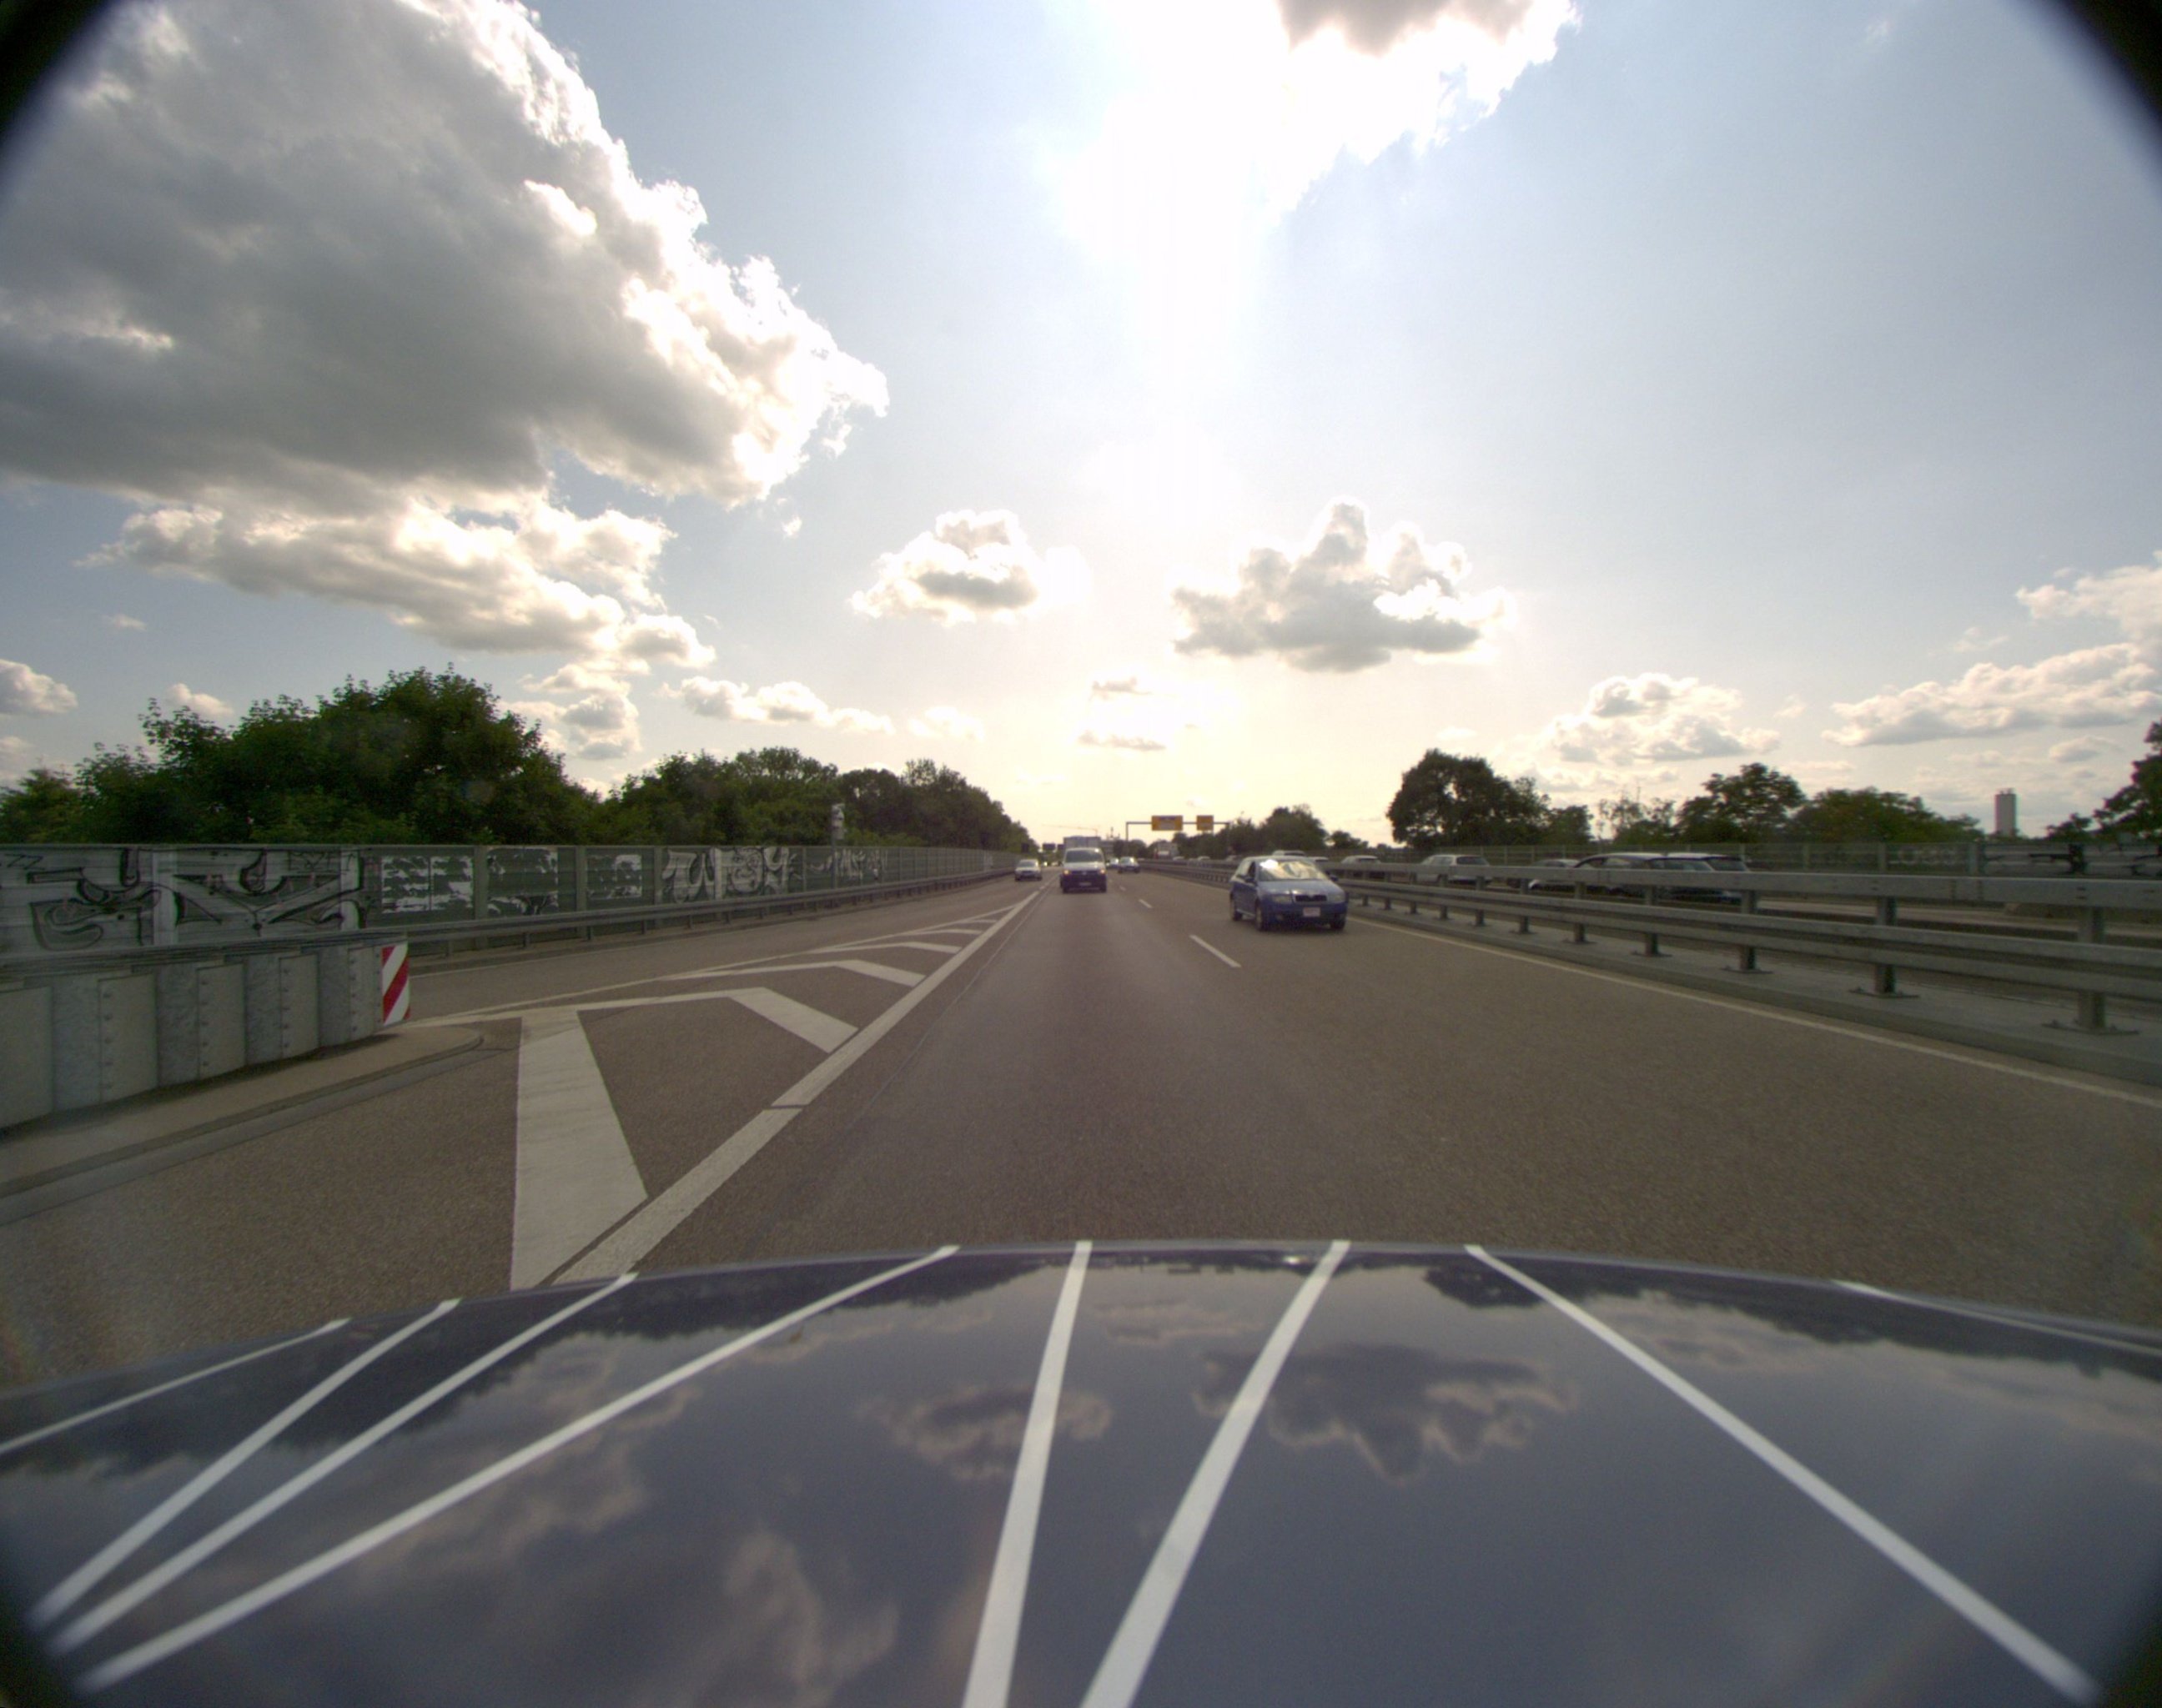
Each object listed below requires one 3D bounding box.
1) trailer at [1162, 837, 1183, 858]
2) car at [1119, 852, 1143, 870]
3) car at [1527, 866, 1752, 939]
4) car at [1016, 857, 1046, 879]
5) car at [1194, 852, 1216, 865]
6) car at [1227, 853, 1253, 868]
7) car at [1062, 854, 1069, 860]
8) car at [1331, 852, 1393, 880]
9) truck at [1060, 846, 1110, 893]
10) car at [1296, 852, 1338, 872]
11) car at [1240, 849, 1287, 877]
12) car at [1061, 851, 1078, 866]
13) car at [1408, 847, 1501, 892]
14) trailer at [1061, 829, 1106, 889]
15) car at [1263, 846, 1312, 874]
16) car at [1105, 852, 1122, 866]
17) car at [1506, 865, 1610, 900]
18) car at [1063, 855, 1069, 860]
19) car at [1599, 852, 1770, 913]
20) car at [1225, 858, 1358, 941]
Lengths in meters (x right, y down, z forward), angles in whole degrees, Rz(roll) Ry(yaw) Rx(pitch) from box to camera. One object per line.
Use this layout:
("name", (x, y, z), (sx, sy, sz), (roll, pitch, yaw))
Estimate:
("trailer", (17.002, -1.151, 141.801), (2.691, 3.648, 11.027), (-2, 1, 0))
("car", (4.484, 0.615, 68.736), (1.779, 1.518, 4.464), (-2, 1, 0))
("car", (11.323, 0.915, 15.797), (1.685, 1.178, 3.999), (-2, 0, 0))
("car", (-3.451, 0.965, 53.217), (1.768, 1.403, 3.771), (-2, 1, 0))
("car", (15.420, 0.569, 94.535), (1.929, 1.565, 3.886), (-2, 1, -1))
("car", (18.102, 0.742, 86.680), (1.929, 1.565, 4.282), (-1, 0, -2))
("car", (-4.073, 0.846, 199.696), (1.895, 1.518, 4.464), (-2, 1, 0))
("car", (15.467, 0.656, 42.023), (1.789, 1.381, 4.047), (-2, -1, -2))
("truck", (0.142, 0.635, 33.332), (2.008, 1.905, 4.000), (-1, 0, -1))
("car", (19.108, 0.625, 61.714), (1.929, 1.565, 4.282), (-1, 0, -2))
("car", (11.072, 0.536, 46.285), (1.679, 1.562, 4.059), (-2, 1, -2))
("car", (-1.283, 0.466, 87.028), (1.802, 1.587, 3.984), (-2, 1, 1))
("car", (15.721, 0.636, 32.262), (1.586, 1.701, 4.410), (-2, -1, -2))
("trailer", (0.071, 0.204, 38.342), (1.999, 2.723, 5.966), (-2, 1, -1))
("car", (15.491, 0.484, 57.368), (1.965, 1.914, 5.190), (-3, 0, -3))
("car", (3.951, 0.597, 93.450), (1.895, 1.518, 4.464), (-2, 1, 0))
("car", (21.617, 1.262, 34.599), (1.649, 1.378, 3.995), (-2, 1, -13))
("car", (-4.640, 1.215, 239.227), (1.895, 1.518, 4.464), (-2, 1, 0))
("car", (16.034, 0.693, 20.441), (1.602, 1.466, 3.630), (1, 0, -2))
("car", (4.152, 0.829, 15.578), (1.625, 1.403, 3.771), (-2, 1, 0))
